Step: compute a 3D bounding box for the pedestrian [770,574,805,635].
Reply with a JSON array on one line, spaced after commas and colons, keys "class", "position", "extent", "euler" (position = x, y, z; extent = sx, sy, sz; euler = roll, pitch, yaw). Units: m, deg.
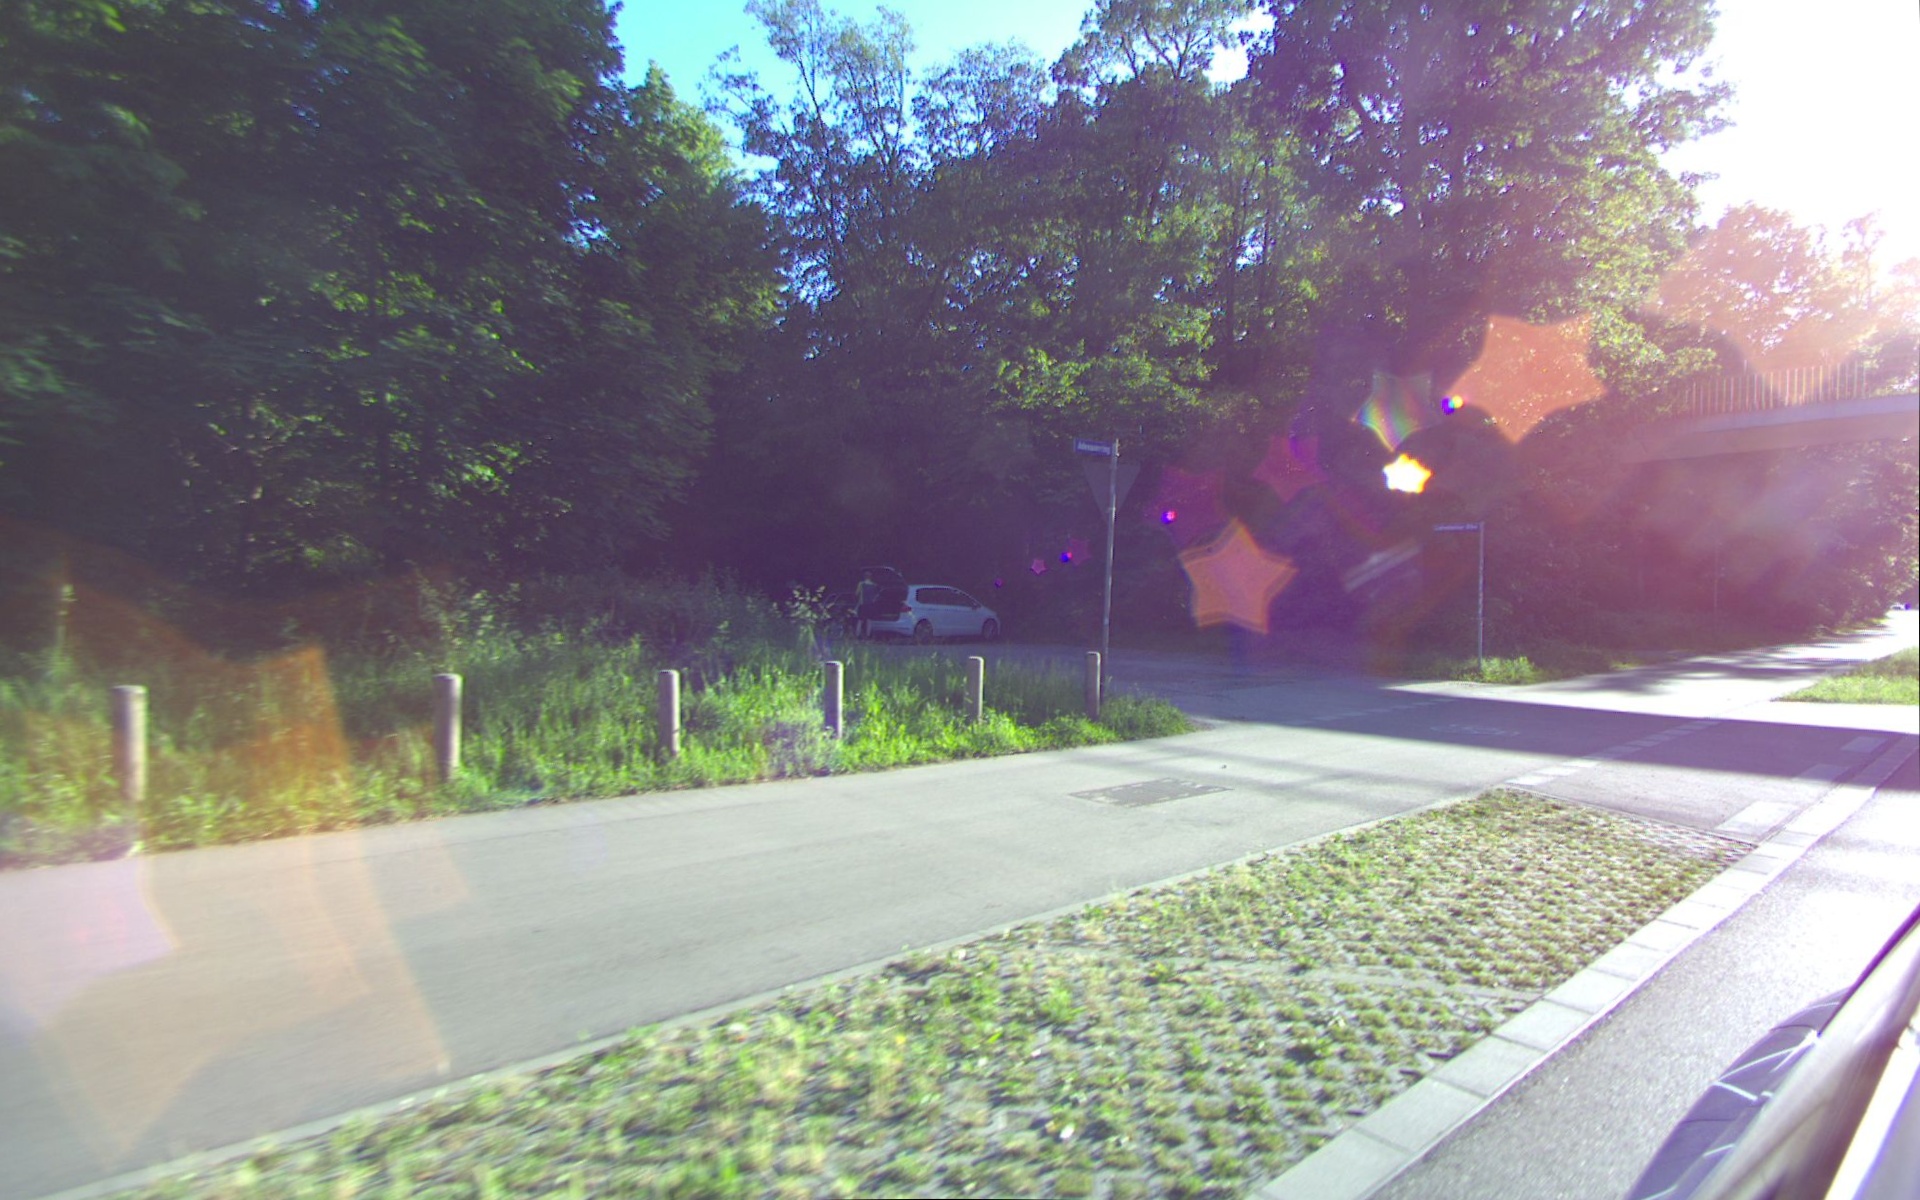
[{"class": "pedestrian", "position": [-4.821, 0.103, 28.288], "extent": [0.709, 1.674, 0.662], "euler": [1, 1, 43]}]

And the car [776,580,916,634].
[{"class": "car", "position": [-3.329, 0.170, 30.057], "extent": [1.769, 1.478, 3.937], "euler": [1, 1, 43]}]

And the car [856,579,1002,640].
[{"class": "car", "position": [-0.792, 0.215, 27.663], "extent": [1.737, 1.544, 3.937], "euler": [0, 0, 44]}]

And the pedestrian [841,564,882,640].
[{"class": "pedestrian", "position": [-2.505, 0.042, 25.809], "extent": [0.830, 1.896, 0.603], "euler": [0, 0, -40]}]
